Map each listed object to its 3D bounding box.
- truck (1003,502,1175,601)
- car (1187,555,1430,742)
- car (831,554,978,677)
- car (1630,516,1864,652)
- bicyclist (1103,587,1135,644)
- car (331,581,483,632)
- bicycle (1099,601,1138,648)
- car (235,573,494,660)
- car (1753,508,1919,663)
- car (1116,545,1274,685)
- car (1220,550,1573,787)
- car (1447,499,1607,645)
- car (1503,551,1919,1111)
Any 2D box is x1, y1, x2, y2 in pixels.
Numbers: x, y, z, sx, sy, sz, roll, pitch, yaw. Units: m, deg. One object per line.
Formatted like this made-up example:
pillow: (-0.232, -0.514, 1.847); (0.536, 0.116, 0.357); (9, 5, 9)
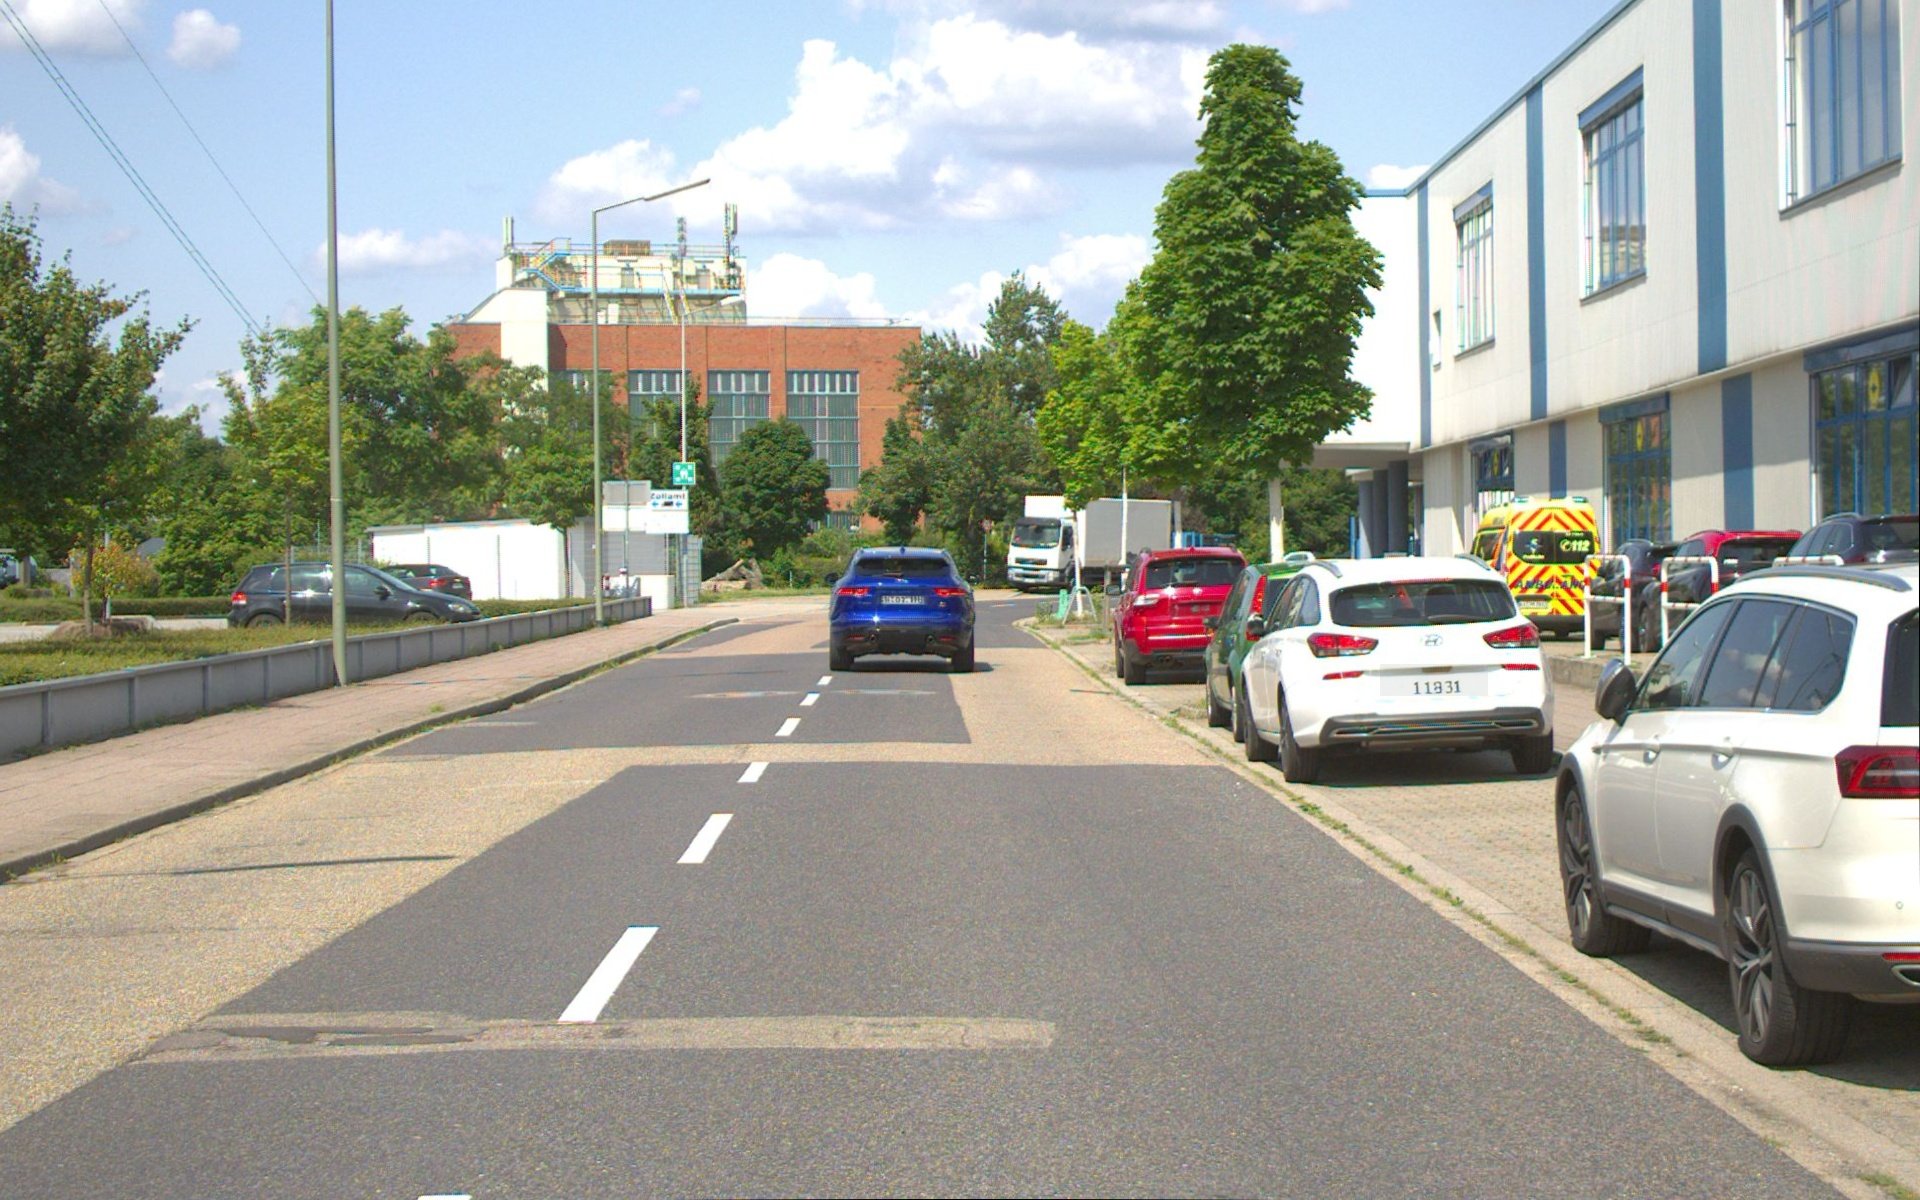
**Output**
truck: (4.940, -1.886, 129.360); (2.325, 3.555, 9.351); (2, 2, 30)
car: (2.960, 0.385, 29.888); (1.668, 1.515, 3.995); (0, 0, -1)
car: (-0.762, 0.191, 47.026); (1.909, 1.588, 4.701); (0, 0, -1)
car: (10.086, -0.172, 44.370); (1.993, 1.651, 4.290); (-1, -1, 0)
bicyclist: (3.929, 0.371, 84.937); (0.663, 1.393, 0.858); (0, 0, 11)
car: (-15.317, 0.164, 95.190); (3.994, 1.373, 1.800); (0, 1, 34)
bicycle: (3.911, 0.594, 84.788); (0.667, 1.105, 2.166); (0, 1, 11)
car: (-9.843, 0.265, 57.033); (3.987, 1.371, 1.804); (-1, 1, 0)
car: (10.111, -0.113, 37.467); (1.827, 1.507, 4.640); (-1, -2, 0)
car: (2.884, 0.167, 42.978); (1.755, 1.645, 4.677); (0, 0, 1)
car: (2.968, 0.428, 24.272); (1.835, 1.515, 4.461); (0, 0, -1)
car: (9.948, -0.478, 60.693); (1.924, 2.455, 5.260); (0, 0, 0)
car: (3.174, 0.616, 11.615); (1.867, 1.515, 4.598); (0, 0, -1)
